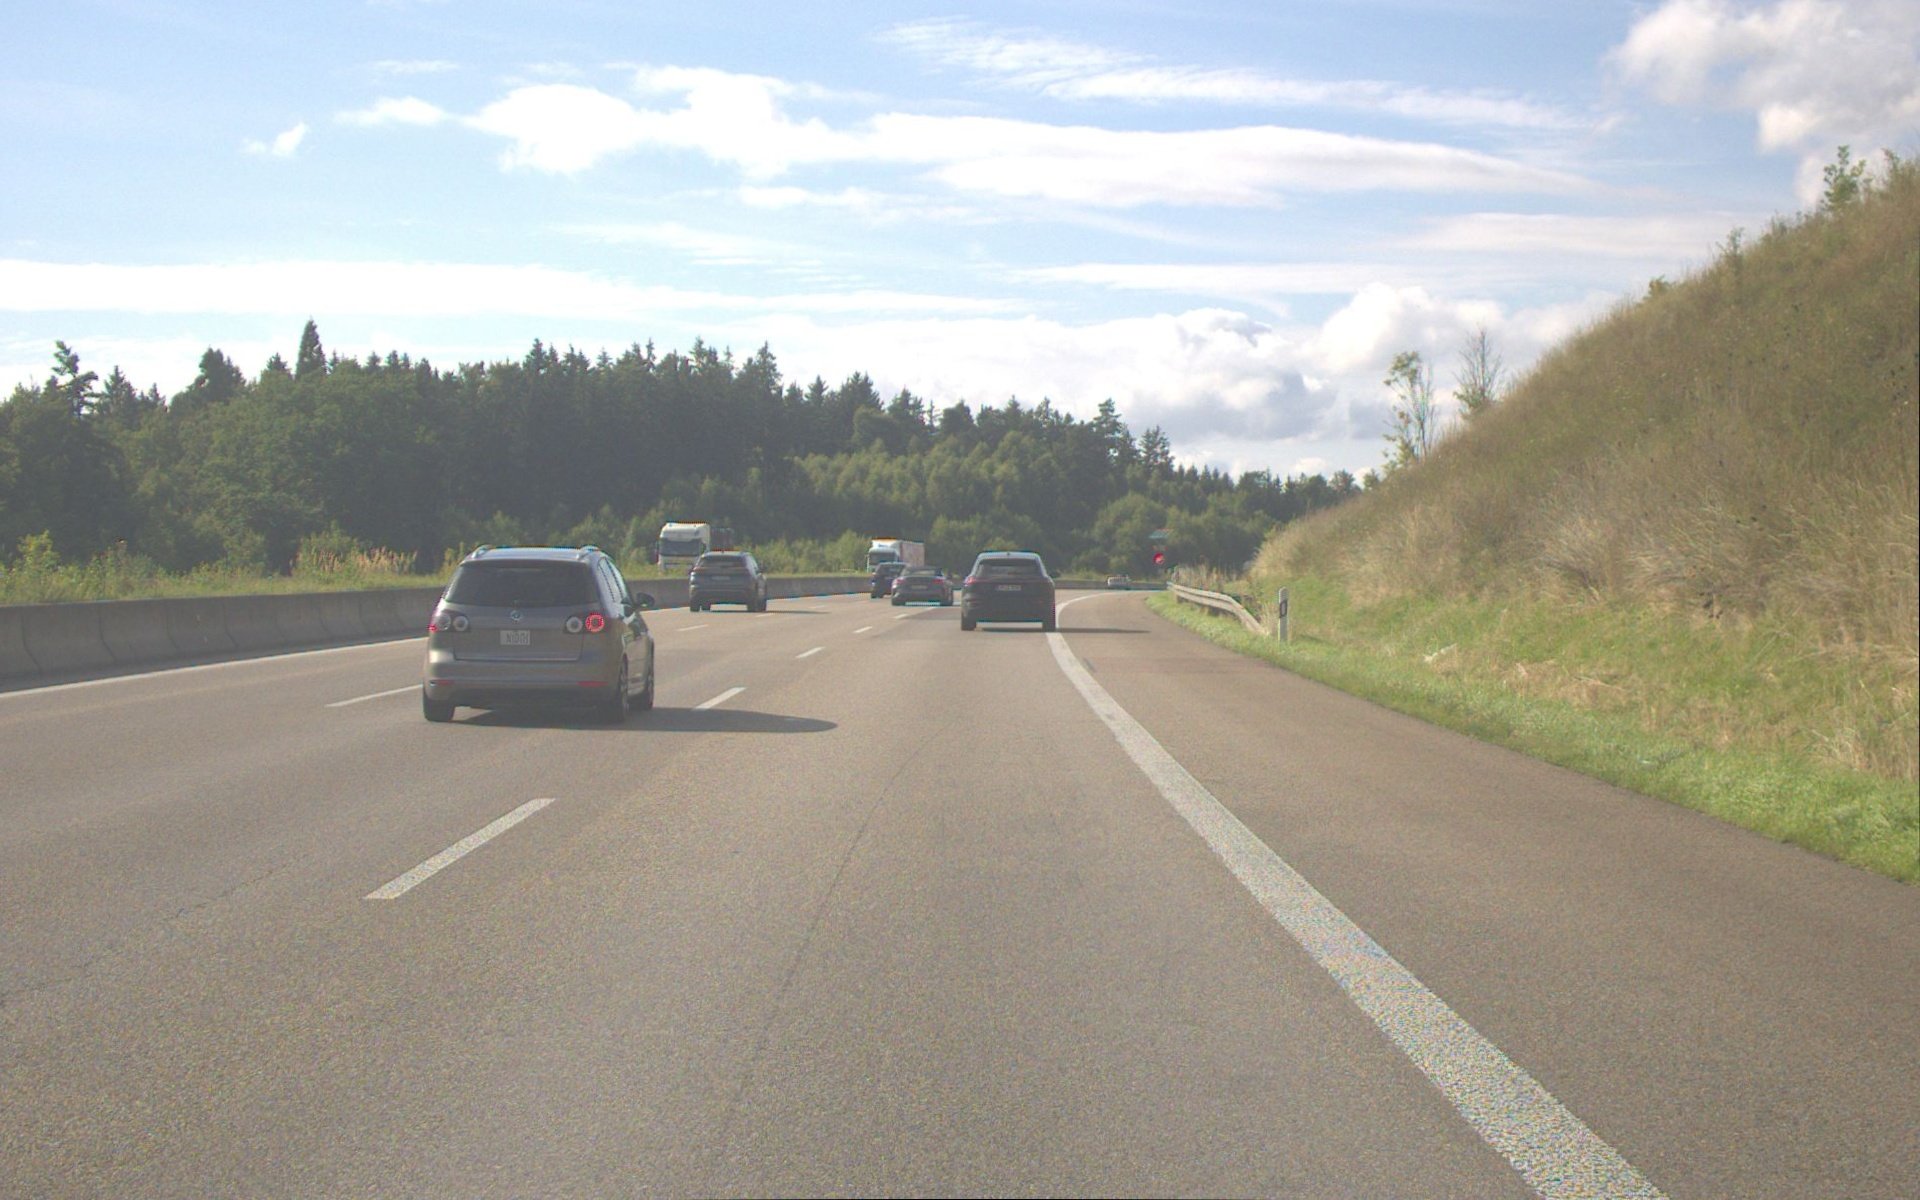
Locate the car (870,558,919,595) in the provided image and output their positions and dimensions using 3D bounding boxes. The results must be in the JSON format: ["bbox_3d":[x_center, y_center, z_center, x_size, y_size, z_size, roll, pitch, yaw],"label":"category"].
[{"bbox_3d":[-2.700,-1.004,143.077,1.874,1.492,3.880,0,1,1],"label":"car"}]

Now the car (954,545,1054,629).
[{"bbox_3d":[0.884,-0.291,71.189,1.873,1.669,3.890,0,1,-2],"label":"car"}]

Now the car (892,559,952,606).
[{"bbox_3d":[-1.246,-0.592,113.208,1.873,1.492,3.880,0,1,1],"label":"car"}]

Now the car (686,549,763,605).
[{"bbox_3d":[-6.481,-0.657,94.913,1.873,1.492,3.880,0,1,0],"label":"car"}]

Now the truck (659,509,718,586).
[{"bbox_3d":[-15.808,-3.042,200.117,2.802,4.377,5.464,0,1,2],"label":"truck"}]

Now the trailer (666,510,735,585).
[{"bbox_3d":[-15.571,-3.139,206.788,2.802,4.377,12.050,0,1,2],"label":"trailer"}]

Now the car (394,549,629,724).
[{"bbox_3d":[-4.053,0.290,31.572,1.873,1.492,3.880,0,1,-4],"label":"car"}]
